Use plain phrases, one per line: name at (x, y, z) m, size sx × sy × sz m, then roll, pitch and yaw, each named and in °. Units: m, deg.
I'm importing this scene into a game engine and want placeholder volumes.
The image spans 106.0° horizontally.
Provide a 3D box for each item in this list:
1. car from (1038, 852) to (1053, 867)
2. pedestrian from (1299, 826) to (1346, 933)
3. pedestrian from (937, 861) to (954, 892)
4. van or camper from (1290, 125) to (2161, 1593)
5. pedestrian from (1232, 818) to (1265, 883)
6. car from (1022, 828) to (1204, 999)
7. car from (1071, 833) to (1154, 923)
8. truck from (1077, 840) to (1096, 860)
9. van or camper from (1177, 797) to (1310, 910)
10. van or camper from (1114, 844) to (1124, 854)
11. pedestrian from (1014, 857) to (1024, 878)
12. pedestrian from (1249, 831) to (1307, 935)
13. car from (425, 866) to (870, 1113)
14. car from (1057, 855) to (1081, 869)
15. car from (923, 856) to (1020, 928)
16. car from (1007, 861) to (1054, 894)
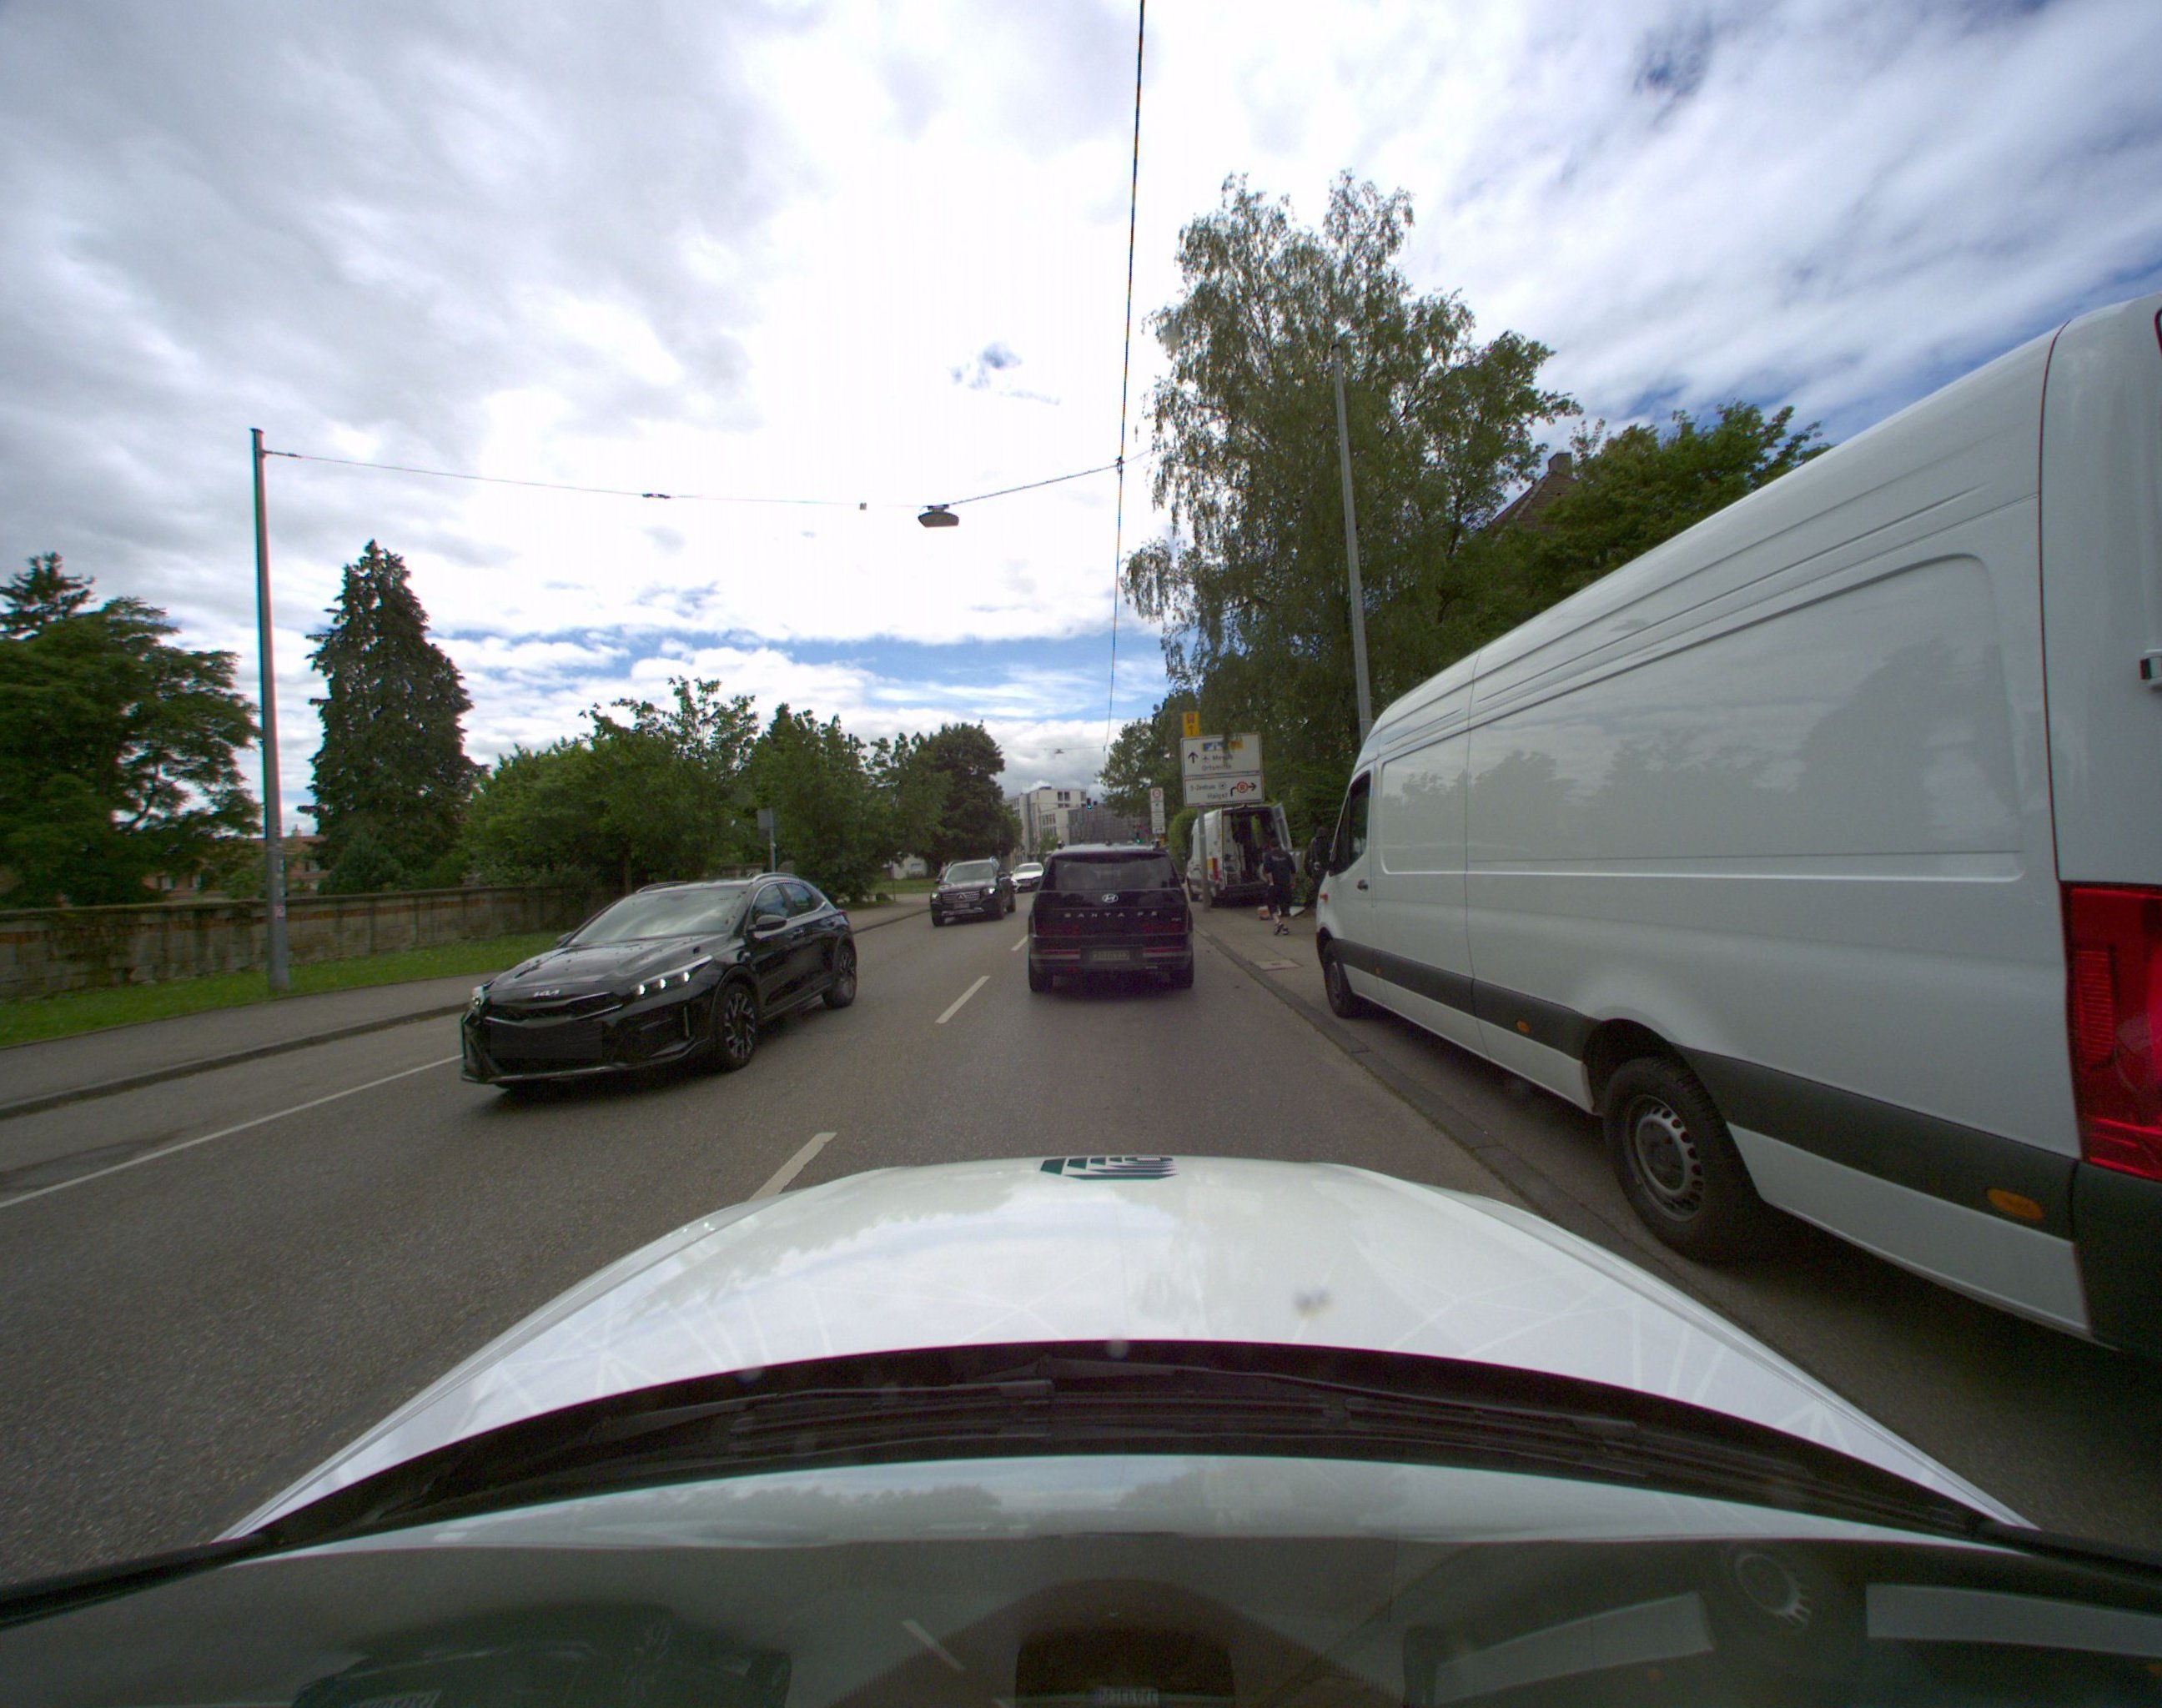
car at (-6.166, 0.972, 142.070) m, size 2.328 × 2.315 × 4.950 m, roll -3°, pitch 0°, yaw -4°
pedestrian at (4.091, 0.424, 13.787) m, size 0.642 × 1.751 × 0.658 m, roll -3°, pitch -1°, yaw 20°
pedestrian at (-7.817, 1.285, 46.874) m, size 0.764 × 1.748 × 0.904 m, roll -1°, pitch -1°, yaw 0°
van or camper at (3.018, 0.027, 4.554) m, size 1.983 × 2.625 × 6.547 m, roll -6°, pitch -1°, yaw 2°
pedestrian at (4.473, -0.086, 21.732) m, size 0.732 × 1.643 × 0.803 m, roll -4°, pitch -1°, yaw 11°
car at (0.400, 0.635, 10.451) m, size 1.890 × 1.776 × 3.995 m, roll 0°, pitch -1°, yaw 2°
car at (0.788, 0.560, 20.533) m, size 1.890 × 2.042 × 3.995 m, roll 0°, pitch -1°, yaw 2°
truck at (1.050, -0.751, 165.859) m, size 3.101 × 3.859 × 9.607 m, roll -3°, pitch 0°, yaw -4°
van or camper at (4.312, 0.057, 22.925) m, size 2.332 × 2.494 × 6.604 m, roll -6°, pitch -1°, yaw 1°
van or camper at (7.971, -1.022, 170.195) m, size 1.791 × 1.999 × 3.821 m, roll 0°, pitch -1°, yaw -2°
pedestrian at (-5.844, 1.269, 77.080) m, size 0.826 × 2.014 × 1.048 m, roll 0°, pitch -1°, yaw 4°
pedestrian at (3.419, 0.495, 14.210) m, size 0.747 × 1.721 × 0.793 m, roll -4°, pitch -1°, yaw 4°
car at (-3.407, 0.930, 7.413) m, size 1.694 × 1.483 × 4.001 m, roll -5°, pitch -1°, yaw 2°
car at (-1.387, 0.947, 97.582) m, size 1.825 × 1.538 × 4.282 m, roll -3°, pitch 0°, yaw 12°
car at (-2.905, 0.962, 22.432) m, size 1.873 × 1.644 × 4.129 m, roll -5°, pitch -1°, yaw 1°
car at (-2.536, 1.146, 41.865) m, size 1.808 × 1.419 × 4.830 m, roll -6°, pitch -1°, yaw 2°
